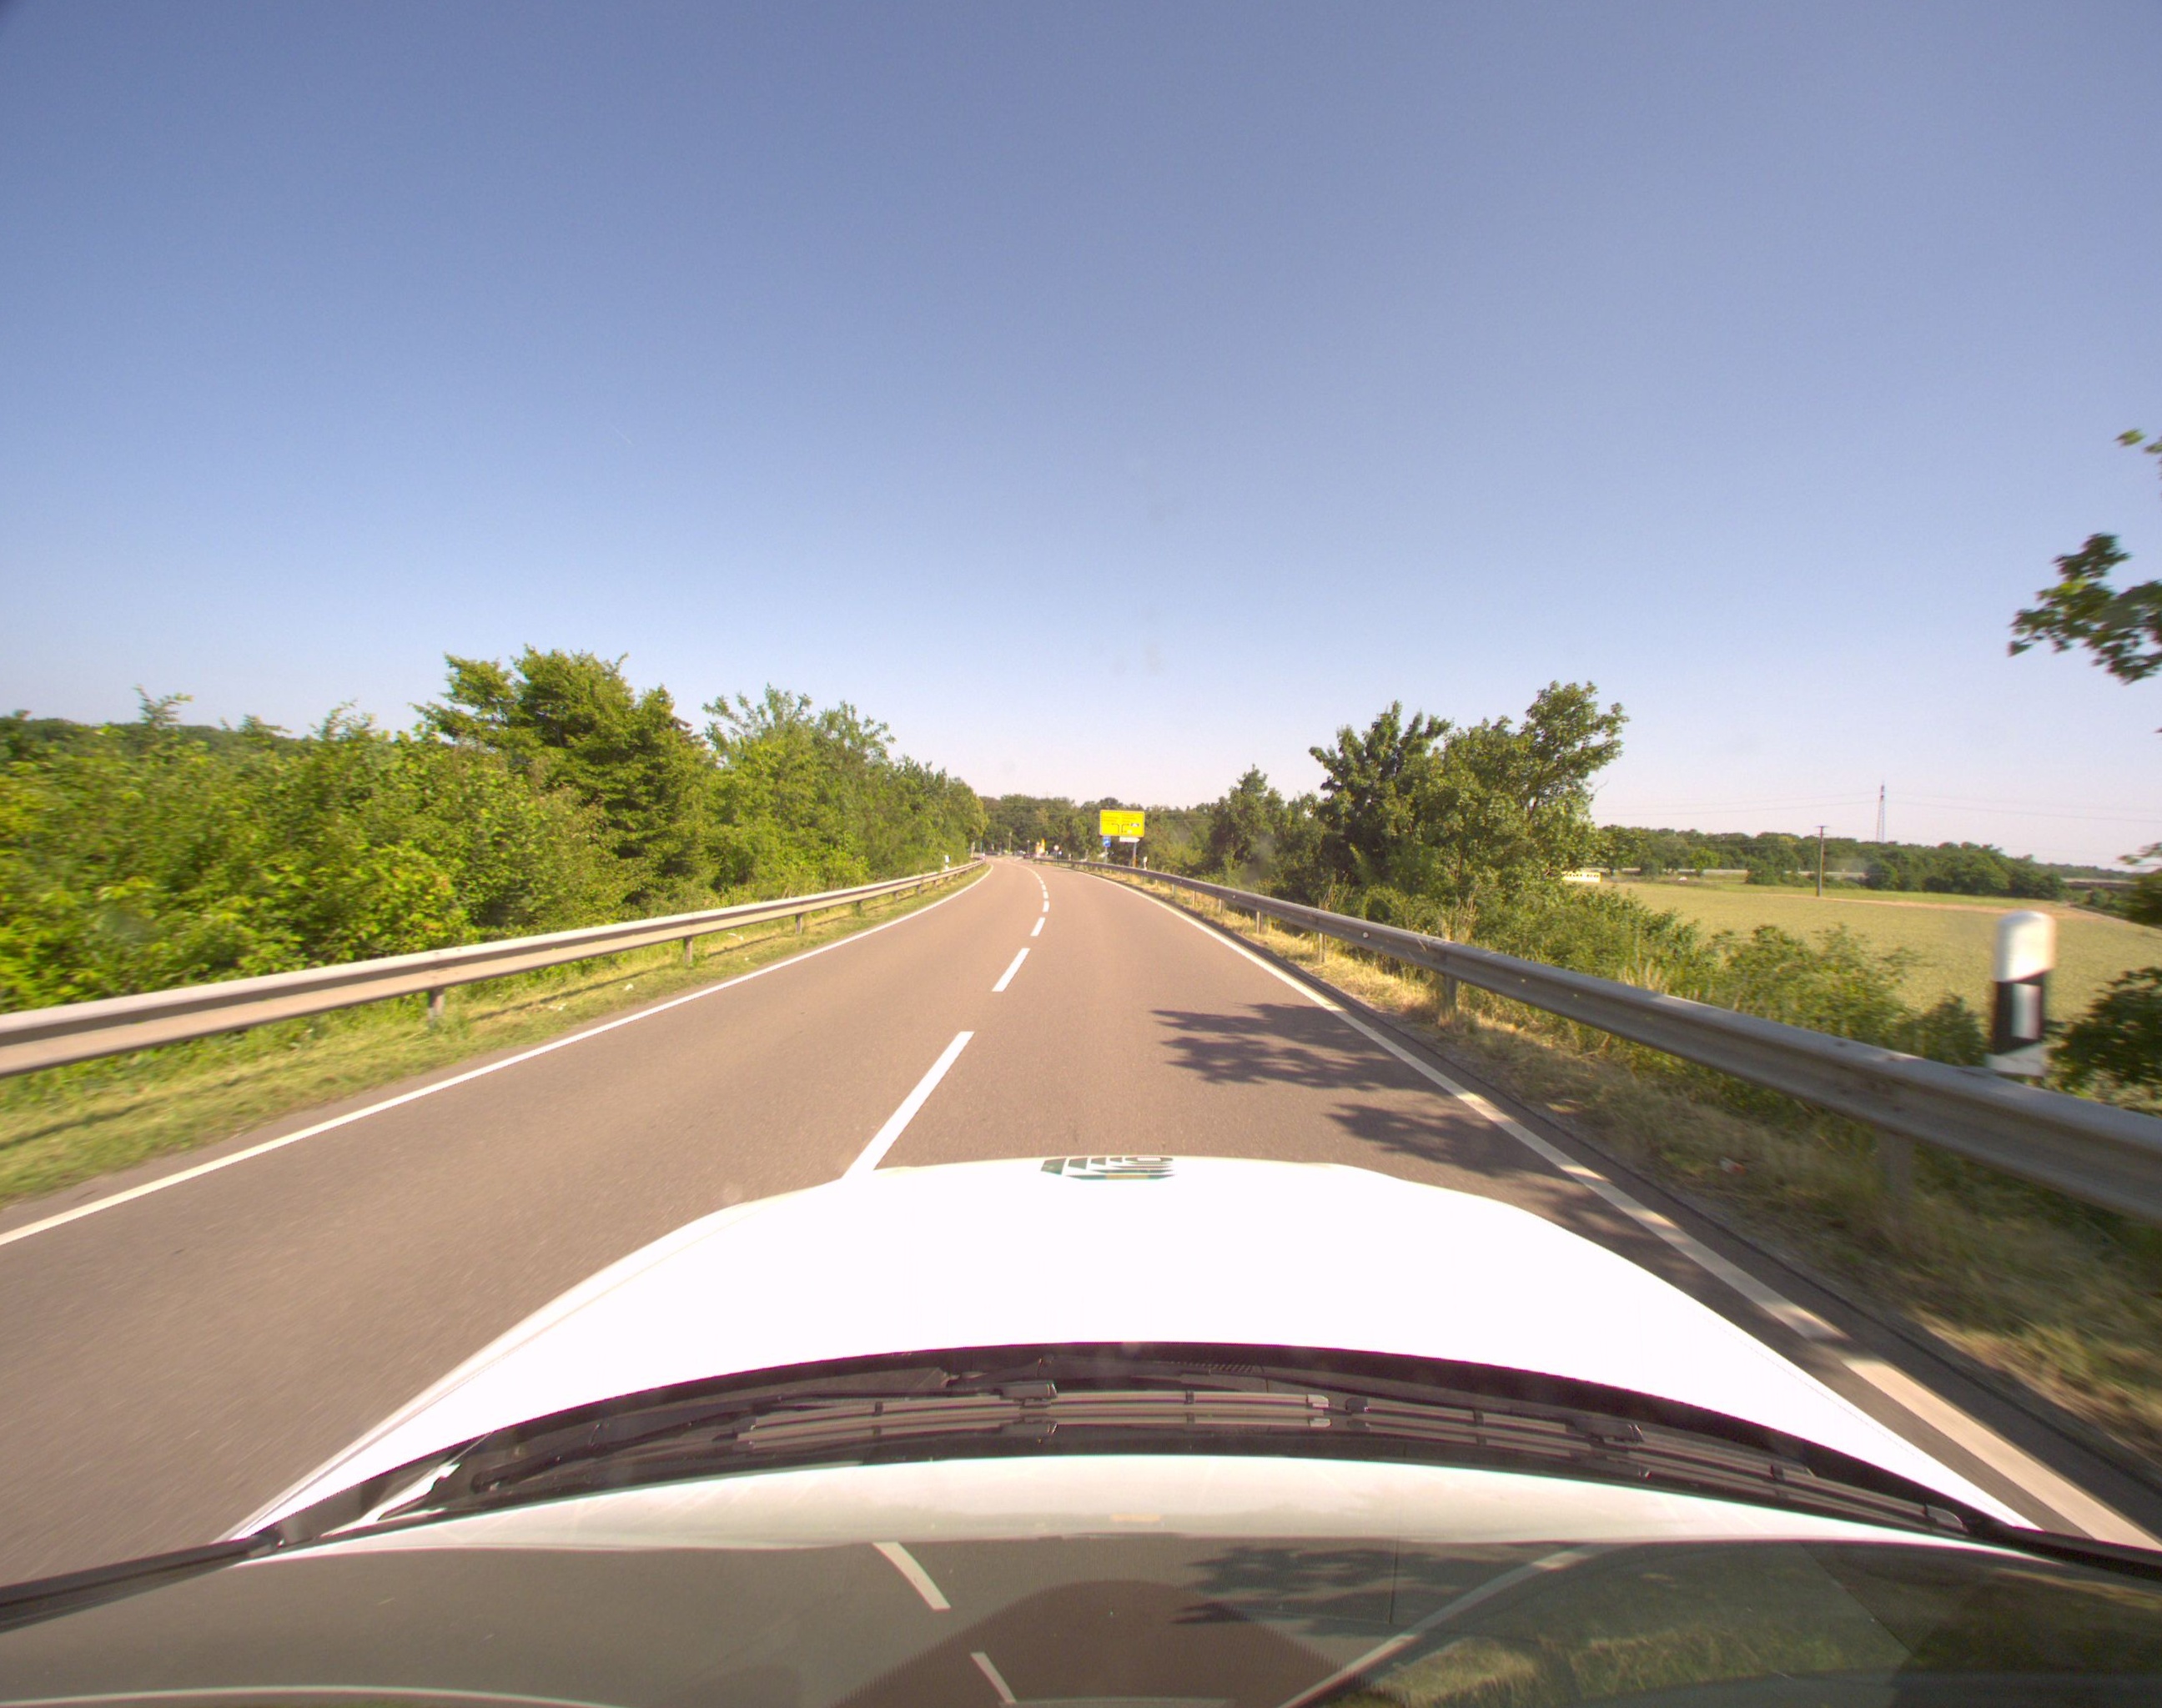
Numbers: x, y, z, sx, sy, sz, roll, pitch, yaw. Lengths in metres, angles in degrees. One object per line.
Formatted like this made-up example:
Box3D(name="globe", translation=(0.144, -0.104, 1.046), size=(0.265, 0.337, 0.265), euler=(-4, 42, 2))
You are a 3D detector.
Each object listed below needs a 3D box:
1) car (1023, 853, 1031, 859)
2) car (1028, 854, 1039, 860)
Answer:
Box3D(name="car", translation=(-13.842, 0.490, 207.941), size=(1.794, 1.398, 3.998), euler=(-6, 0, -1))
Box3D(name="car", translation=(-12.525, 0.843, 215.398), size=(1.788, 1.501, 4.012), euler=(2, 0, 11))
